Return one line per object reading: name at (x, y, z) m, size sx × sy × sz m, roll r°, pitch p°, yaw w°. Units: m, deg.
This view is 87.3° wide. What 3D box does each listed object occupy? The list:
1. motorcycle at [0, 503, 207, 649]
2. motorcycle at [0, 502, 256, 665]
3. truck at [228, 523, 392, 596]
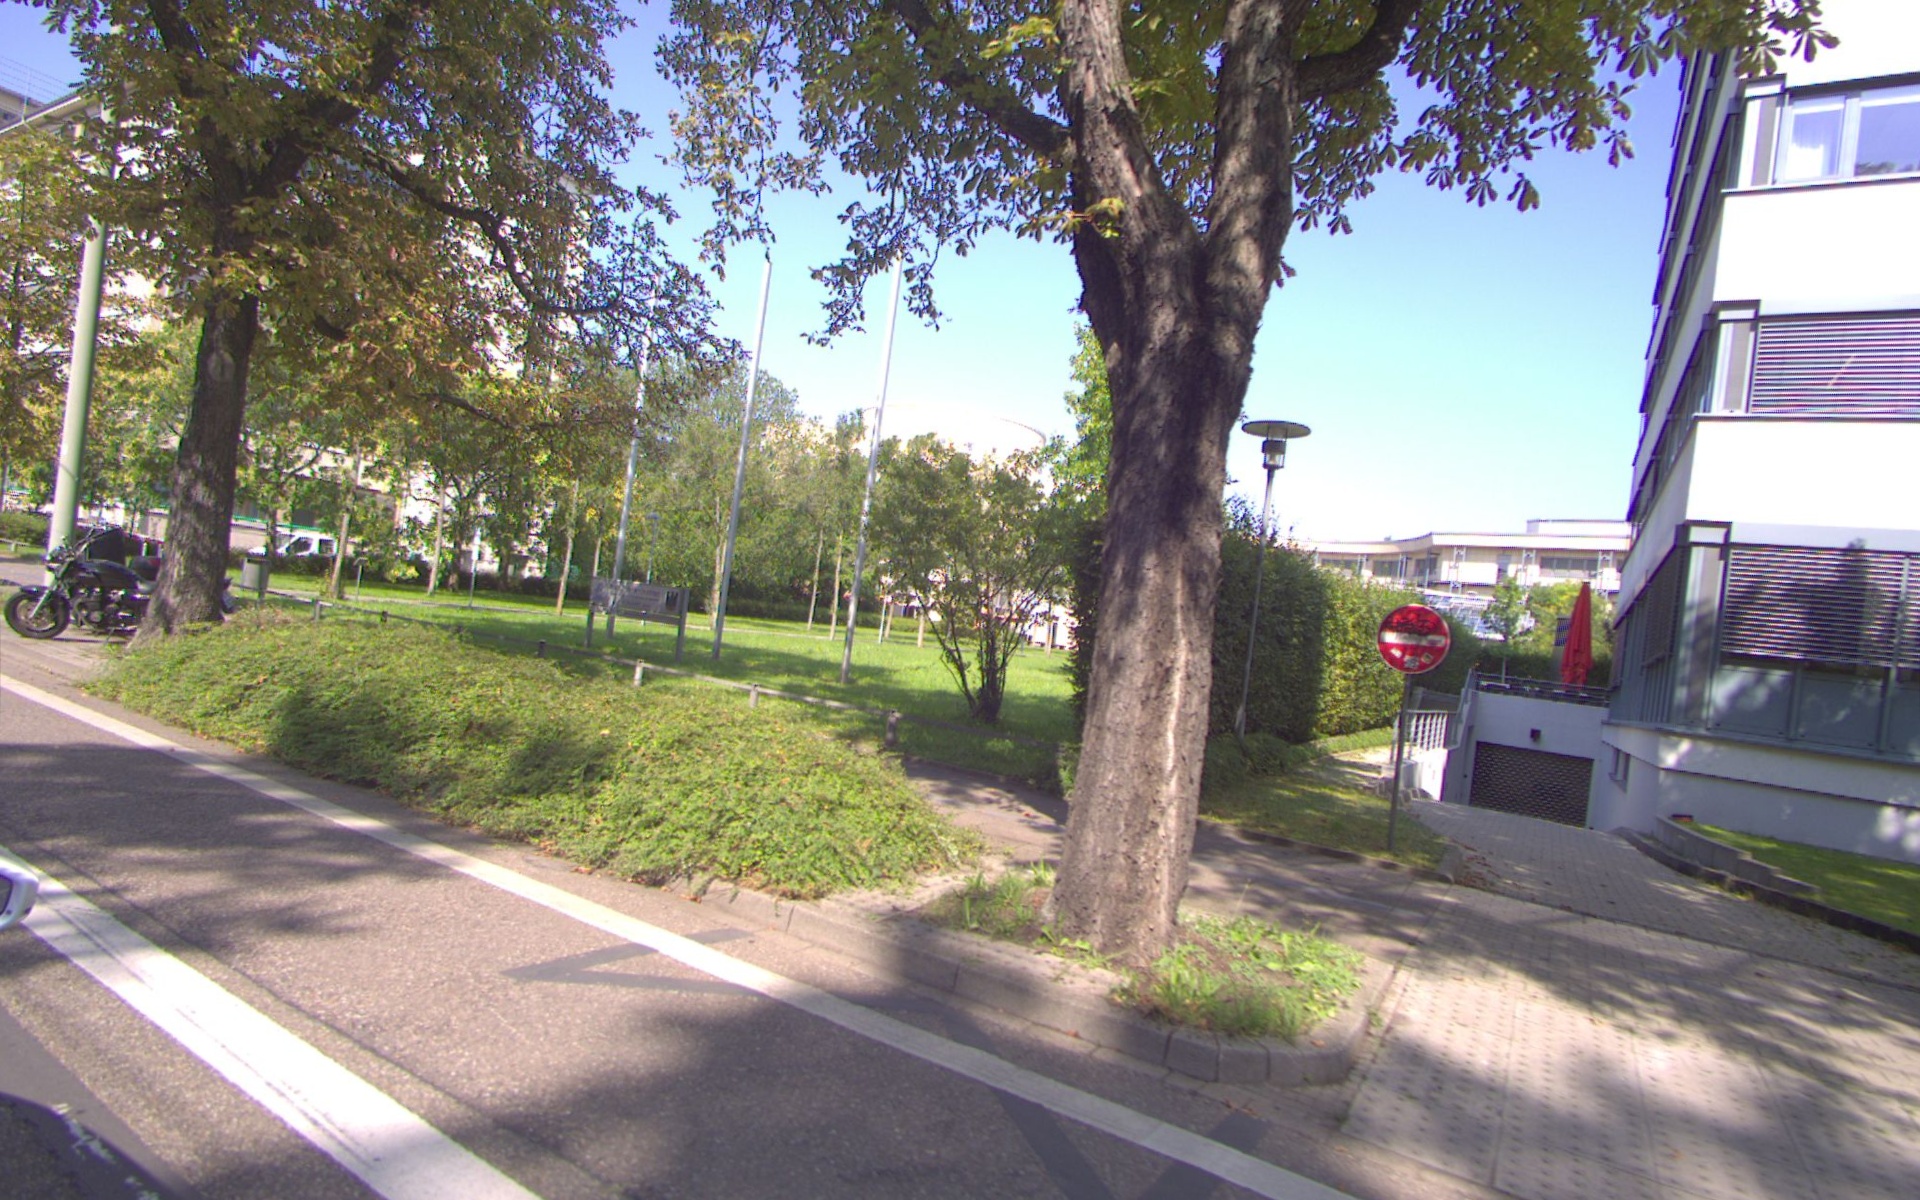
motorcycle at (-11.116, -0.308, 12.783) m, size 2.408 × 1.533 × 0.854 m, roll 7°, pitch -1°, yaw 7°
motorcycle at (-9.836, -0.178, 11.678) m, size 2.422 × 1.533 × 0.849 m, roll 8°, pitch -2°, yaw -21°
truck at (-28.952, -1.750, 45.031) m, size 2.261 × 2.352 × 5.517 m, roll 7°, pitch -2°, yaw 33°
